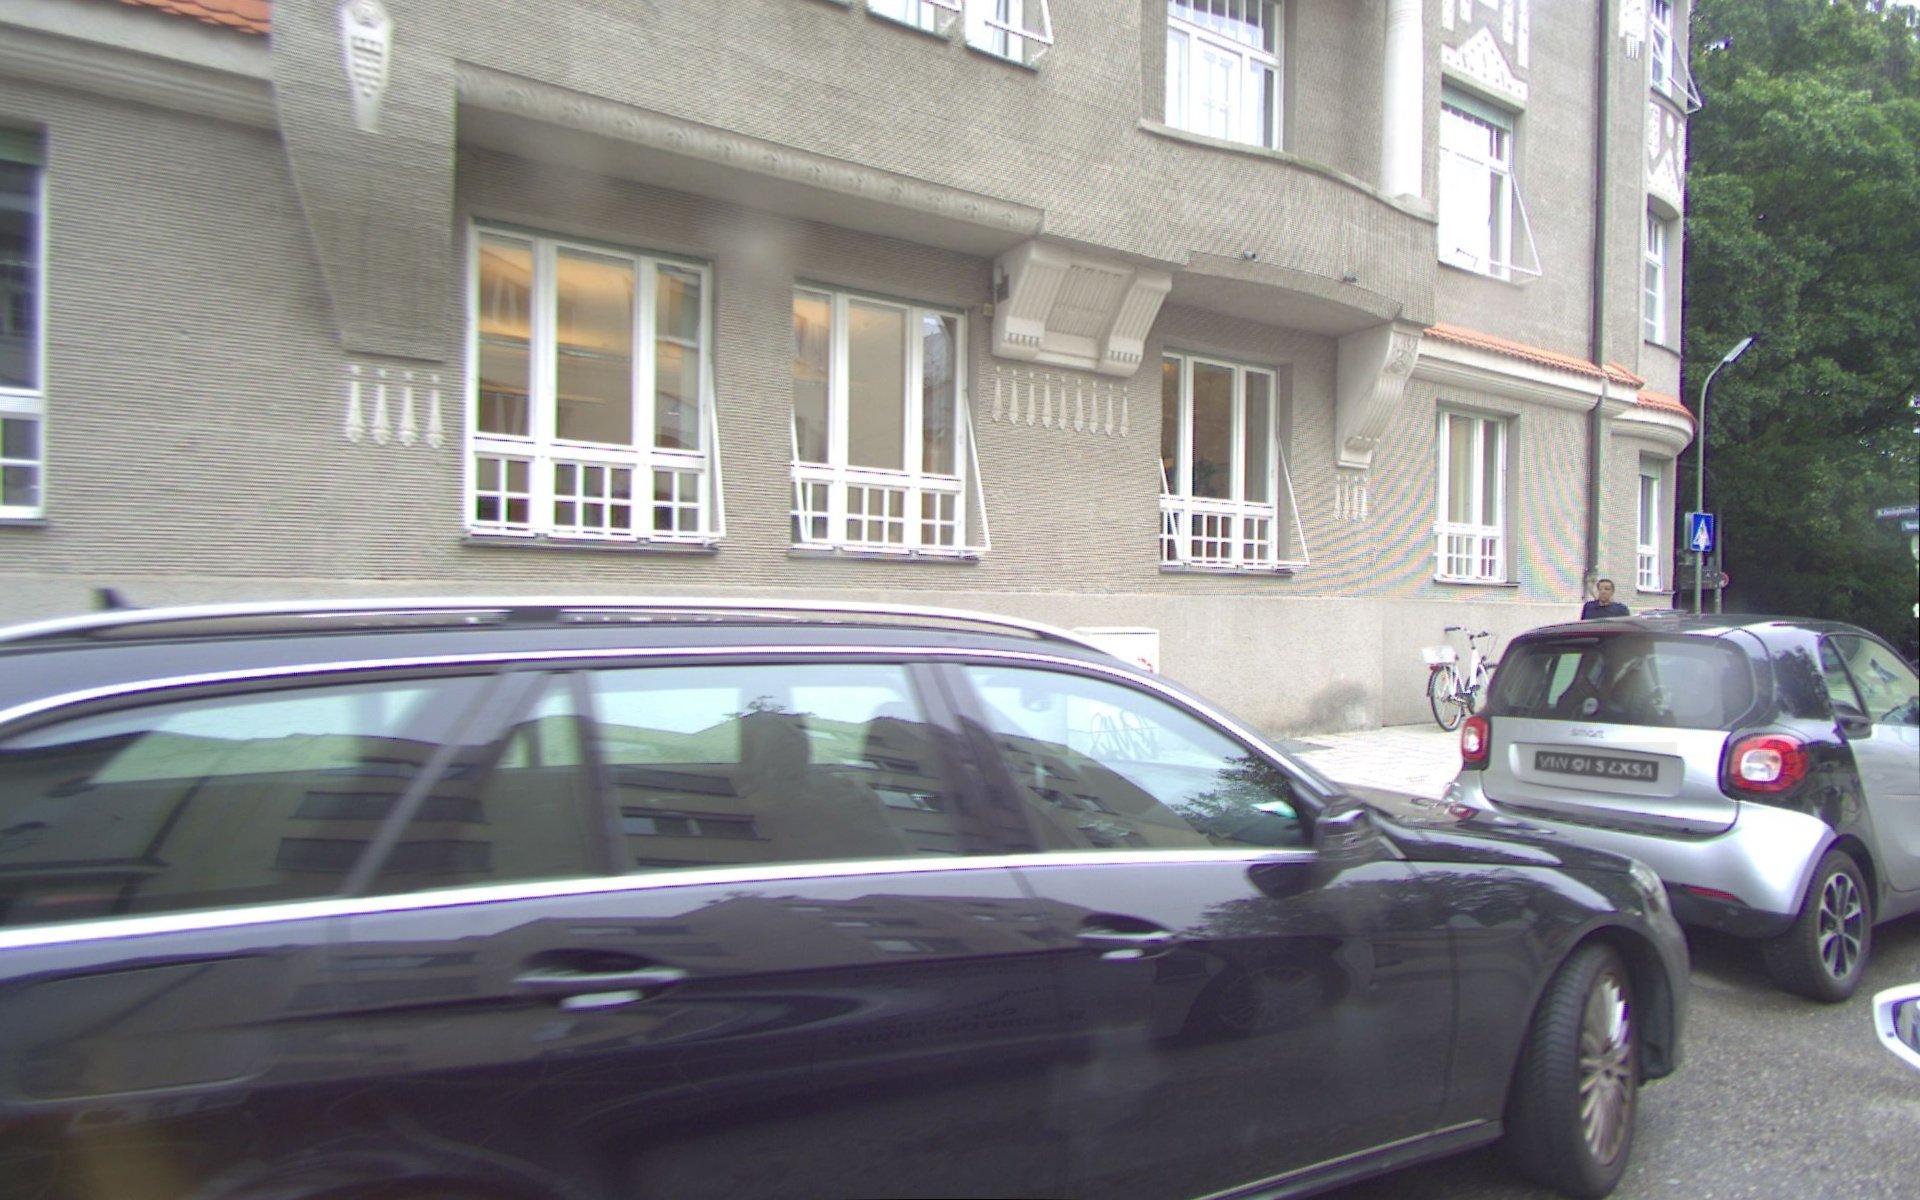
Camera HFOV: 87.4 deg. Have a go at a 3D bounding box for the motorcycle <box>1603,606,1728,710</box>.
[{"bbox_3d":[10.546,0.838,14.998,2.122,1.460,0.732,1,0,-32],"label":"motorcycle"}]

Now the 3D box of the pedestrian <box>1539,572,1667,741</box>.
[{"bbox_3d":[7.243,0.611,11.334,0.924,1.811,0.836,1,0,-27],"label":"pedestrian"}]

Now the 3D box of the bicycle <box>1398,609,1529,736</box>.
[{"bbox_3d":[5.854,0.808,11.658,1.658,1.367,0.614,1,0,-35],"label":"bicycle"}]

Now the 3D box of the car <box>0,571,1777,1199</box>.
[{"bbox_3d":[-0.044,0.762,2.629,4.649,1.535,1.748,1,0,-28],"label":"car"}]

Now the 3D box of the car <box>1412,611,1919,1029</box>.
[{"bbox_3d":[4.012,0.845,5.180,2.876,1.535,1.696,1,0,-29],"label":"car"}]

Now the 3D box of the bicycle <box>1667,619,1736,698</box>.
[{"bbox_3d":[12.961,0.980,17.607,0.725,1.273,1.923,1,0,29],"label":"bicycle"}]

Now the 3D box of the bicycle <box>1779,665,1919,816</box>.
[{"bbox_3d":[7.294,1.070,7.452,0.534,1.028,1.793,1,1,-30],"label":"bicycle"}]

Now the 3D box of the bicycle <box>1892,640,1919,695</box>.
[{"bbox_3d":[18.405,1.290,18.659,0.501,1.023,2.009,1,0,7],"label":"bicycle"}]
